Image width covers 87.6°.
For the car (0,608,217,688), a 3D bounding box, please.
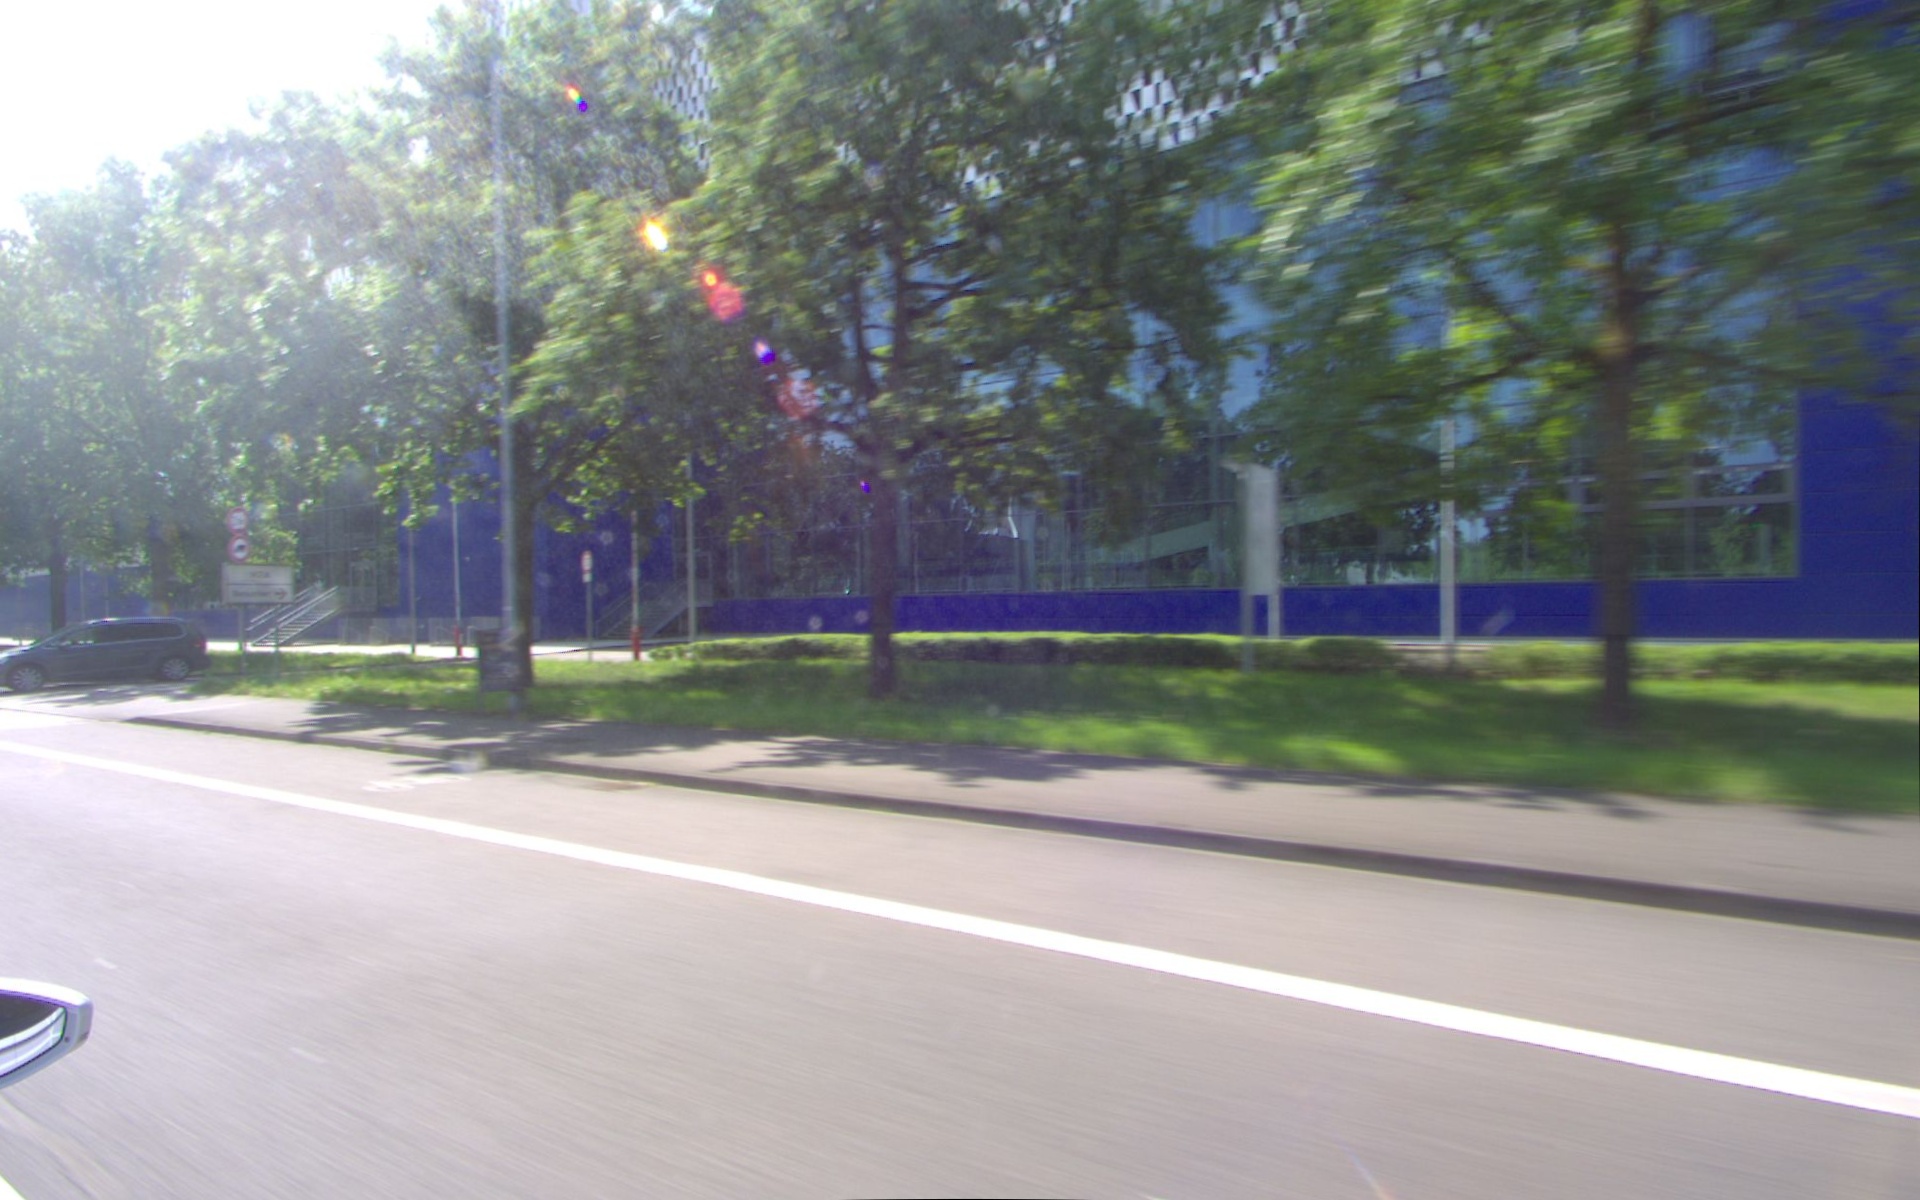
[{"bbox_3d":[-21.501,1.136,24.983,1.822,1.716,4.423,-1,1,39],"label":"car"}]
